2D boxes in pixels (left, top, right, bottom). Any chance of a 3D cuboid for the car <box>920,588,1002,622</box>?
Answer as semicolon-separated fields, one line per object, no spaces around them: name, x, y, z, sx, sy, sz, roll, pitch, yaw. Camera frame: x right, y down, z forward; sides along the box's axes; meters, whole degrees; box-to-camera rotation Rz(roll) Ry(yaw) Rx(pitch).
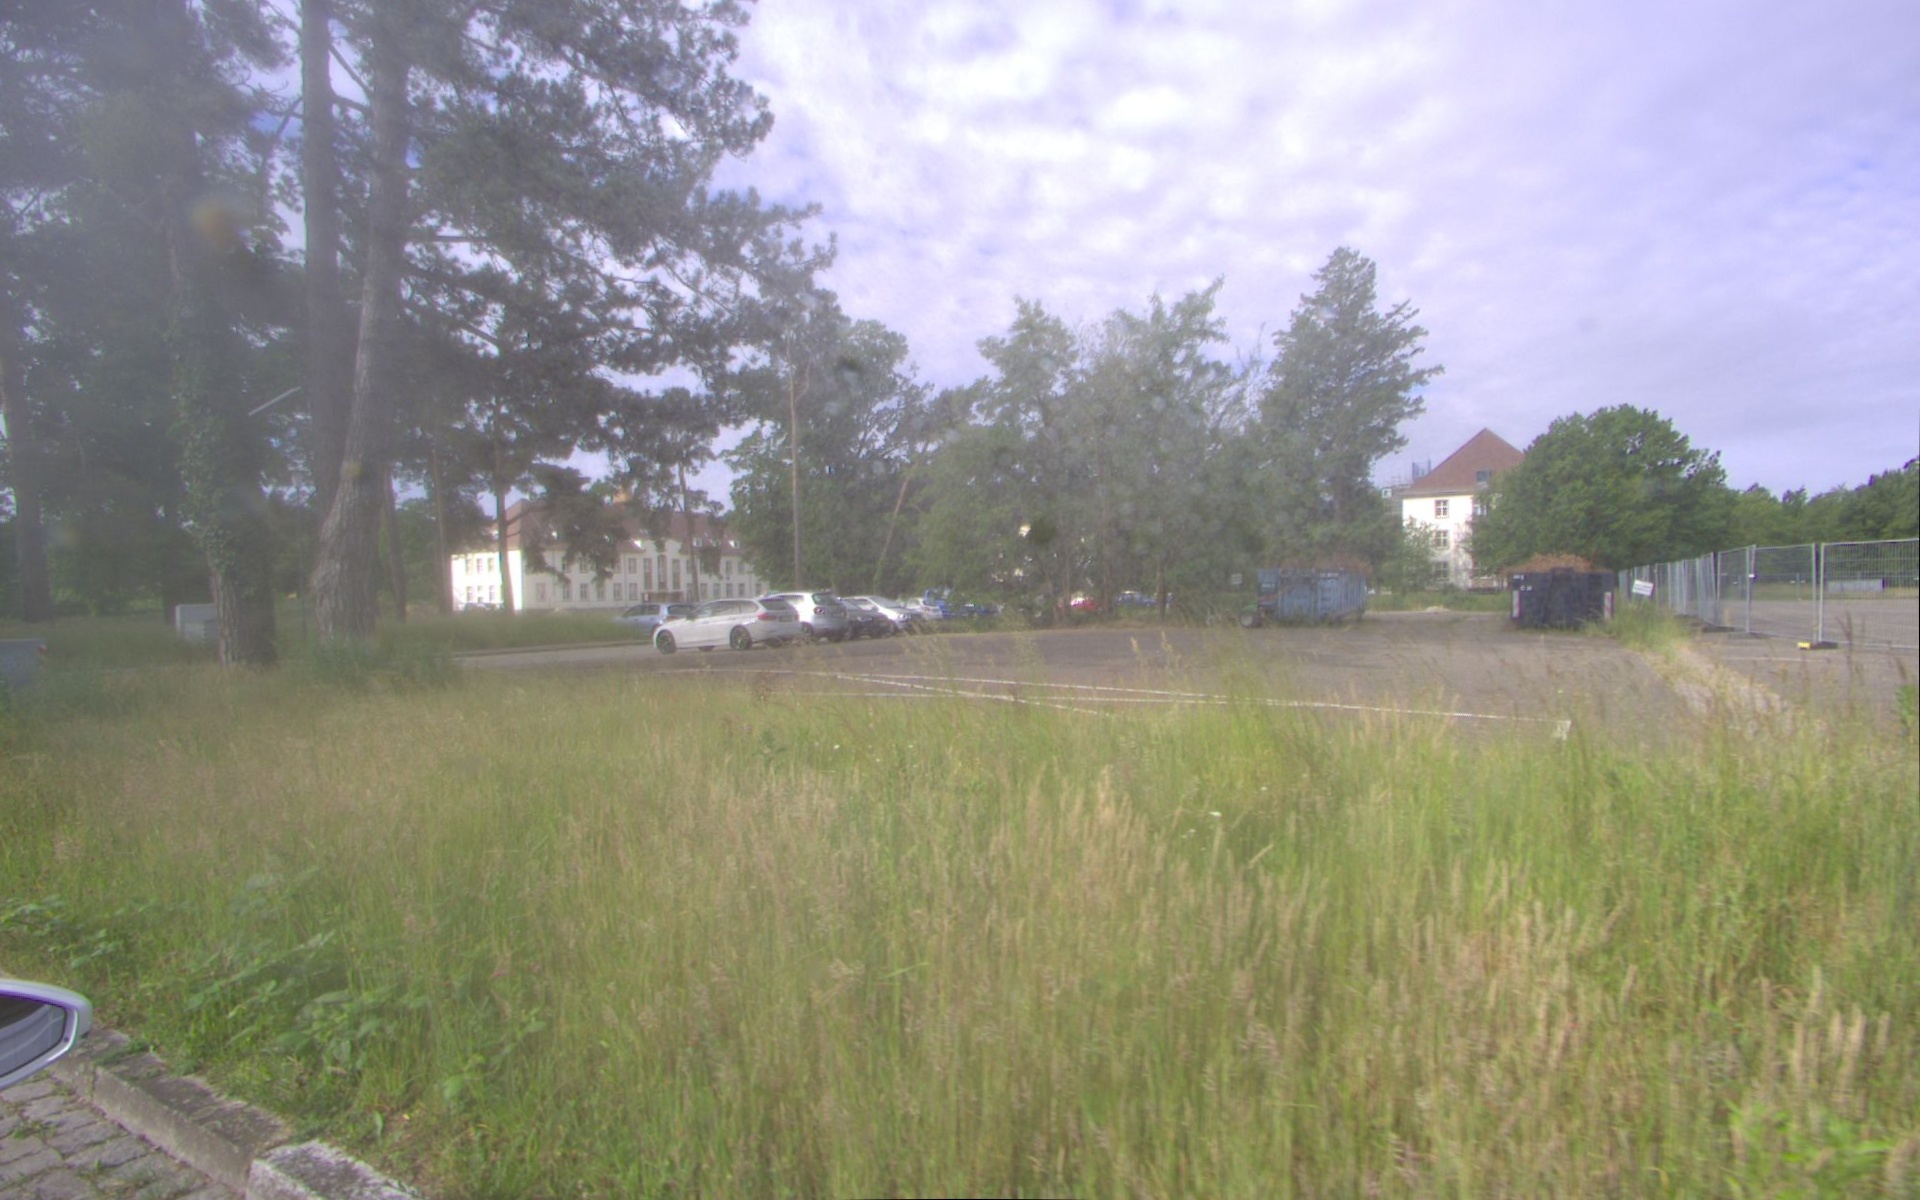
car;0.043;0.309;60.043;4.585;1.994;1.750;-1;1;29

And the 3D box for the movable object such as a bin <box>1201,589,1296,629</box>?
movable object such as a bin;8.448;0.246;29.350;2.505;1.098;1.060;1;2;30

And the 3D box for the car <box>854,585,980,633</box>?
car;-1.610;0.352;37.560;4.379;1.709;1.864;-1;1;29

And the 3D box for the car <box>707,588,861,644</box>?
car;-5.371;0.487;30.453;4.379;1.598;1.864;-1;1;29

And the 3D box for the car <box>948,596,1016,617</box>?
car;1.356;0.414;62.304;3.940;1.226;1.654;-1;1;30

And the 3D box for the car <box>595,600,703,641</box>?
car;-12.554;0.828;40.385;4.385;1.544;1.748;-1;1;33

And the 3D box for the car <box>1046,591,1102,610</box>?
car;8.782;0.035;77.069;3.936;1.373;1.656;-1;1;26

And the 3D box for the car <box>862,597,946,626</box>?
car;-3.129;0.641;55.892;4.379;1.544;1.750;-1;1;29

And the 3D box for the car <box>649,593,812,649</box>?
car;-6.473;0.603;28.104;4.380;1.434;1.750;-2;0;29

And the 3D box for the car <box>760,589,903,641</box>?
car;-4.219;0.494;32.849;4.379;1.598;1.864;-1;1;29

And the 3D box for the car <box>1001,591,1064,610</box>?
car;4.886;0.022;67.328;3.933;1.226;1.657;-1;1;23

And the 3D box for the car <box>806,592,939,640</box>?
car;-3.100;0.552;35.449;4.379;1.598;1.864;-1;1;29
